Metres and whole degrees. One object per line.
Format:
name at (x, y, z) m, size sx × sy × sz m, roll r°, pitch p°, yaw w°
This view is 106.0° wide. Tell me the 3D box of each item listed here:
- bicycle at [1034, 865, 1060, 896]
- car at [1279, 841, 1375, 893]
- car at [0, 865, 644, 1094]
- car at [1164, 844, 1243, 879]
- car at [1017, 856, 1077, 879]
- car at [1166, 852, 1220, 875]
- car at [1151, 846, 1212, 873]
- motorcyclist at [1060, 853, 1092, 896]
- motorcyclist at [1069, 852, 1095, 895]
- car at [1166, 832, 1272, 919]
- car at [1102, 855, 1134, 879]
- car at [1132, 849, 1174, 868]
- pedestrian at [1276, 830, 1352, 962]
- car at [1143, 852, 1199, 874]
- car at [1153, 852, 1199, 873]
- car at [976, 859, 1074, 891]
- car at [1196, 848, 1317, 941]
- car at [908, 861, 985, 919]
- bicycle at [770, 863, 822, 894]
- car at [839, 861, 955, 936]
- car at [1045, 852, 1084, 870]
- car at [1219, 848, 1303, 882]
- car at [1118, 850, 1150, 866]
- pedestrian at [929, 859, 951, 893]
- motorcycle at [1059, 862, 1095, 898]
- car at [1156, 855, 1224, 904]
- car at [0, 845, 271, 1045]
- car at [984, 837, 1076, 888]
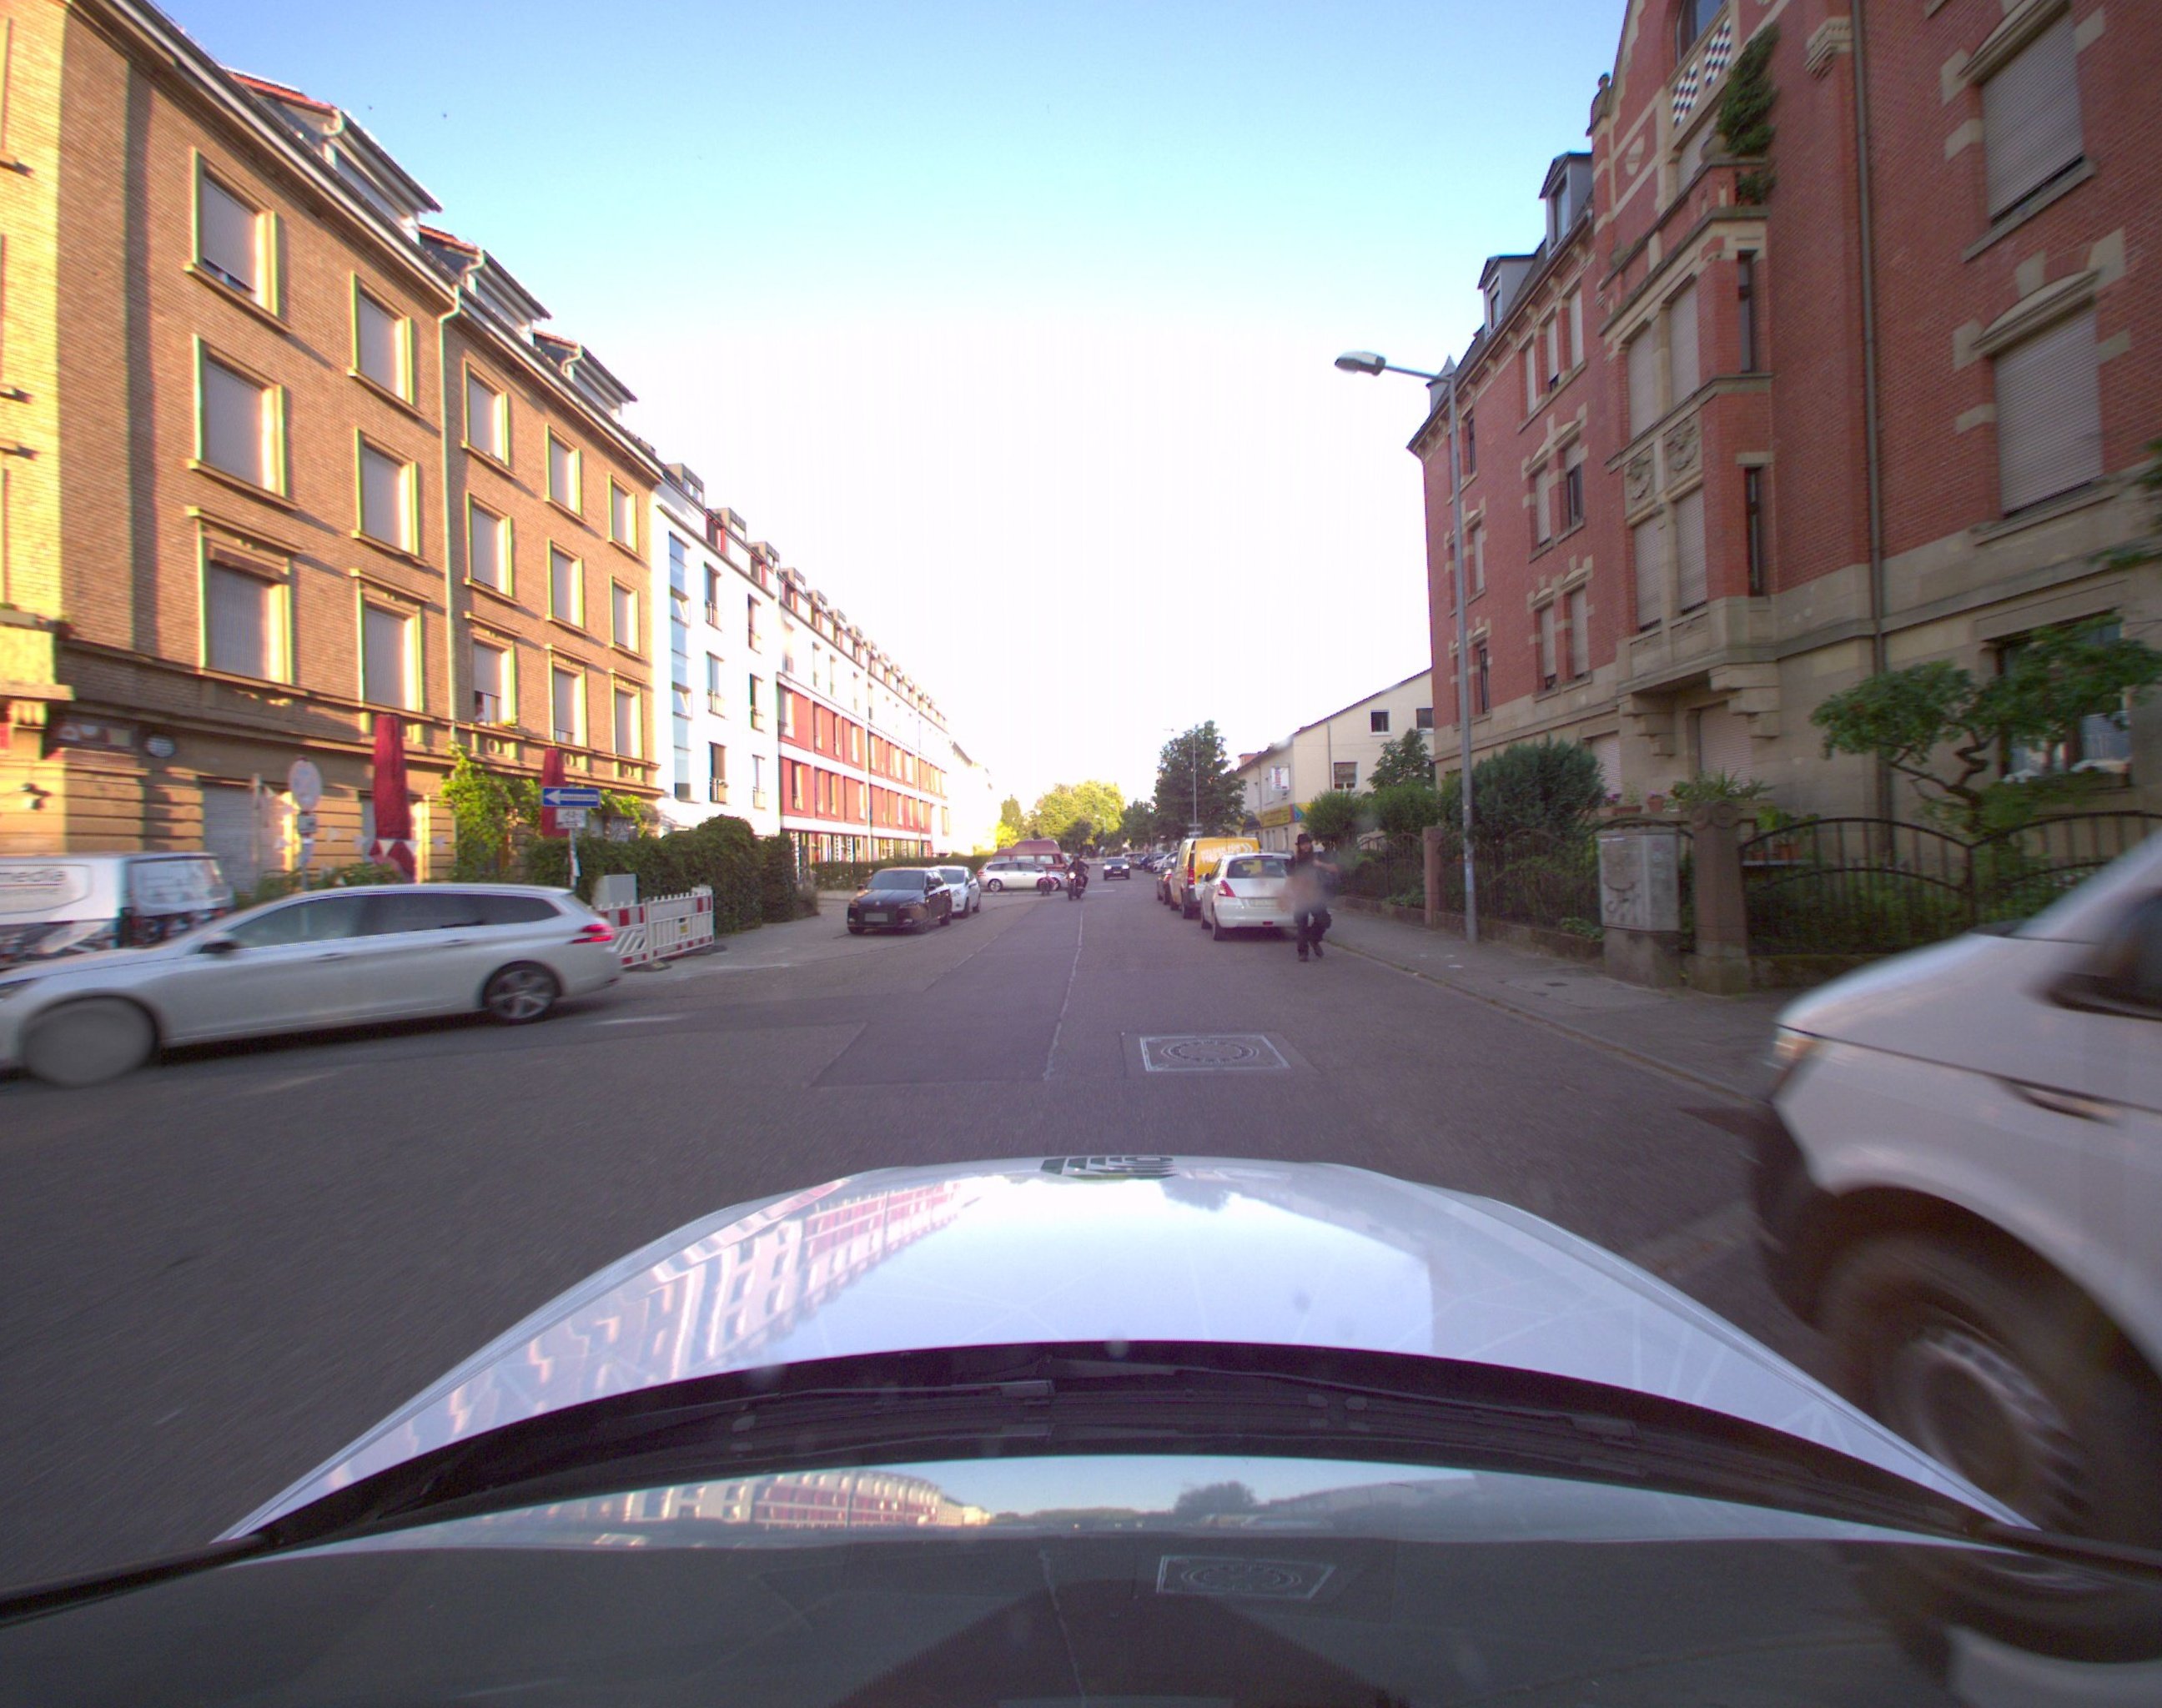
bicycle at (-1.392, 1.079, 33.966) m, size 0.804 × 1.221 × 2.867 m, roll 0°, pitch 0°, yaw 3°
car at (7.706, 0.388, 25.978) m, size 1.720 × 1.424 × 4.423 m, roll -3°, pitch 0°, yaw 1°
car at (-7.095, 0.980, 8.000) m, size 4.623 × 1.523 × 1.799 m, roll -2°, pitch -1°, yaw -41°
car at (8.262, 0.494, 55.173) m, size 4.971 × 1.983 × 2.221 m, roll -4°, pitch -1°, yaw 2°
car at (-2.455, 1.007, 59.954) m, size 4.241 × 1.660 × 2.001 m, roll 0°, pitch 0°, yaw 1°
car at (8.670, 0.734, 63.313) m, size 3.896 × 1.526 × 1.940 m, roll -4°, pitch -1°, yaw 2°
car at (8.635, 0.467, 70.340) m, size 4.928 × 1.958 × 2.049 m, roll -4°, pitch -1°, yaw 0°
motorcyclist at (-0.179, 0.743, 29.998) m, size 0.884 × 1.505 × 0.972 m, roll -4°, pitch -1°, yaw 11°
motorcyclist at (0.030, 0.730, 30.746) m, size 0.782 × 1.540 × 0.547 m, roll -4°, pitch -1°, yaw 11°
car at (3.293, 0.485, 20.440) m, size 1.886 × 1.884 × 5.083 m, roll -1°, pitch 0°, yaw 1°
car at (2.569, 0.859, 55.857) m, size 1.769 × 1.517 × 4.009 m, roll -3°, pitch -1°, yaw 8°
car at (8.219, 0.548, 92.788) m, size 4.469 × 1.911 × 1.686 m, roll -4°, pitch -1°, yaw -4°
pedestrian at (3.167, 0.550, 11.140) m, size 0.883 × 1.722 × 0.961 m, roll 0°, pitch 0°, yaw 9°
car at (8.300, 0.838, 75.282) m, size 4.928 × 1.689 × 2.076 m, roll -4°, pitch -1°, yaw 0°
car at (9.318, 0.821, 80.176) m, size 4.303 × 1.804 × 1.810 m, roll -4°, pitch -1°, yaw 0°
car at (-2.668, 0.989, 39.298) m, size 4.603 × 1.460 × 1.879 m, roll 0°, pitch 0°, yaw -2°
car at (3.116, 0.665, 15.127) m, size 1.667 × 1.477 × 3.866 m, roll -1°, pitch 0°, yaw 4°
car at (-3.940, 1.011, 24.429) m, size 1.646 × 1.530 × 4.015 m, roll -1°, pitch 0°, yaw -1°
bicycle at (-10.958, 0.935, 31.336) m, size 1.768 × 1.148 × 0.611 m, roll 0°, pitch 0°, yaw 4°
car at (-4.181, 0.960, 19.103) m, size 1.697 × 1.534 × 3.846 m, roll -1°, pitch 0°, yaw 2°
car at (-1.914, 0.815, 95.383) m, size 4.517 × 2.134 × 2.001 m, roll 0°, pitch 0°, yaw 1°
car at (9.435, 0.559, 42.993) m, size 4.034 × 1.514 × 1.757 m, roll -3°, pitch 1°, yaw 2°
car at (7.092, 0.518, 108.421) m, size 3.959 × 1.911 × 2.047 m, roll -4°, pitch -1°, yaw -3°
pedestrian at (-6.205, 0.962, 35.861) m, size 0.829 × 1.501 × 0.798 m, roll 0°, pitch 0°, yaw 2°
motorcycle at (-0.122, 0.964, 30.293) m, size 0.841 × 1.209 × 2.081 m, roll -4°, pitch -1°, yaw 11°
car at (3.393, 0.767, 26.062) m, size 1.715 × 1.424 × 4.254 m, roll 0°, pitch 0°, yaw 2°
car at (-12.662, 0.976, 8.618) m, size 5.298 × 1.975 × 2.192 m, roll -2°, pitch 0°, yaw -22°
car at (-2.566, 0.436, 41.880) m, size 4.492 × 2.584 × 2.002 m, roll 0°, pitch 0°, yaw 3°
